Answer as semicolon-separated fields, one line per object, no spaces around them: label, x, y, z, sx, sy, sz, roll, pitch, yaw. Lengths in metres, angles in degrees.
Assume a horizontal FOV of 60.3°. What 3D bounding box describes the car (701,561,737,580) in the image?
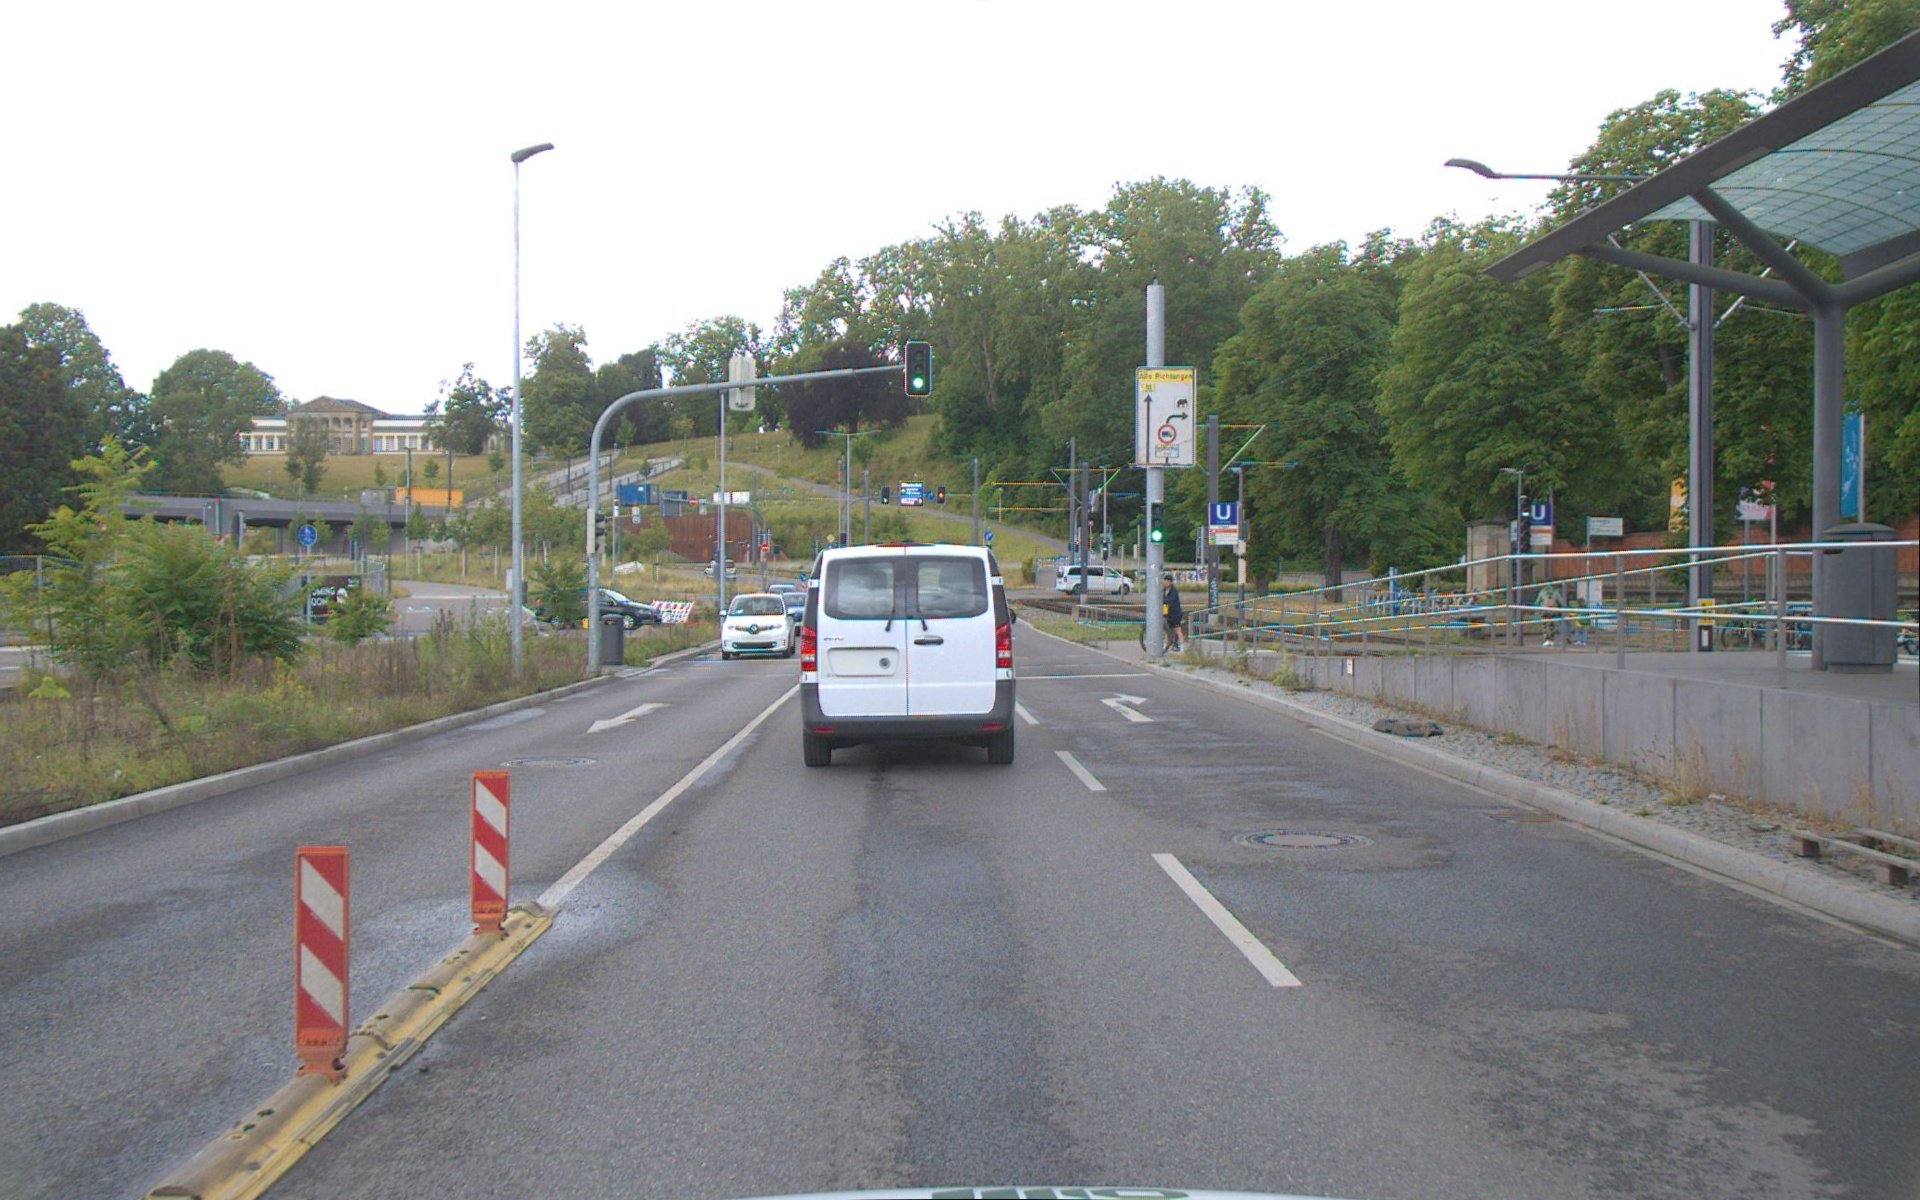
car;-21.453;-2.610;147.145;1.915;1.655;3.964;1;1;-28

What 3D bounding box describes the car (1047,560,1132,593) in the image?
car;8.410;-1.501;107.535;5.047;2.049;2.200;1;0;-14

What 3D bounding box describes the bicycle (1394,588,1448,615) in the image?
bicycle;17.382;0.052;62.409;1.873;0.992;0.530;-1;0;-2

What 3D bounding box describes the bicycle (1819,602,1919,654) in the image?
bicycle;18.484;0.557;33.565;1.835;0.980;0.532;2;0;-2

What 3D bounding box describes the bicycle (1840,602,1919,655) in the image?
bicycle;18.528;0.570;32.840;1.835;0.980;0.532;2;0;-2

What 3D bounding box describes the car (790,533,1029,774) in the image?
car;-0.397;0.417;15.506;1.919;1.937;4.461;0;0;0

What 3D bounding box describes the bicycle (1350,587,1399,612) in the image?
bicycle;17.055;-0.012;68.085;1.873;0.992;0.530;-1;0;-2

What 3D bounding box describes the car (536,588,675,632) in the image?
car;-13.134;0.378;61.393;4.609;1.503;2.002;-1;1;8

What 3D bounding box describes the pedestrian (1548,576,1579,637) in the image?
pedestrian;15.255;0.157;41.804;0.490;1.528;0.512;-1;0;-24

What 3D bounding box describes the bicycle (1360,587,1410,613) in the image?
bicycle;16.996;-0.013;66.175;1.873;0.992;0.530;-1;0;-2

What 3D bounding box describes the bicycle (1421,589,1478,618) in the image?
bicycle;17.545;0.122;59.305;1.873;0.992;0.530;-1;0;-2

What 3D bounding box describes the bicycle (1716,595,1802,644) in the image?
bicycle;18.204;0.439;37.698;1.728;1.052;0.483;2;0;-2

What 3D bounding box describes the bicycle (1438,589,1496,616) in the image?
bicycle;17.831;0.094;58.201;1.873;0.911;0.530;-1;0;-2

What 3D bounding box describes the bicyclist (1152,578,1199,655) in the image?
bicyclist;4.572;0.340;35.118;0.799;1.599;0.609;-1;2;-42

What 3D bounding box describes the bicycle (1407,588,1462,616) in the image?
bicycle;17.478;0.065;60.890;1.873;0.992;0.530;-1;0;-2

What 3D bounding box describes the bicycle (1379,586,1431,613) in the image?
bicycle;17.400;-0.018;64.648;1.873;0.992;0.530;-1;0;-2

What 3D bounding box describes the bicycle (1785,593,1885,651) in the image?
bicycle;18.696;0.476;35.364;1.835;1.159;0.532;2;0;-2

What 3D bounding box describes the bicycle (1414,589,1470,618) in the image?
bicycle;17.475;0.119;59.950;1.873;0.992;0.530;-1;0;-2

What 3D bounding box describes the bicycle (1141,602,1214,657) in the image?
bicycle;4.626;0.610;35.181;1.670;1.092;0.611;-1;2;-42

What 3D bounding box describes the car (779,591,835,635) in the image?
car;-5.292;0.440;57.701;1.695;1.446;4.442;-2;0;-3

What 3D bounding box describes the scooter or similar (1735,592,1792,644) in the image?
scooter or similar;18.785;0.419;38.667;1.139;1.159;0.333;2;0;22

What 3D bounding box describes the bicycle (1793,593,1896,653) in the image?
bicycle;18.391;0.473;34.398;1.835;1.159;0.532;2;0;-2

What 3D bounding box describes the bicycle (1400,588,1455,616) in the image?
bicycle;17.421;0.066;61.629;1.873;0.992;0.530;-1;0;-2

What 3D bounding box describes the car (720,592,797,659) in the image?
car;-4.933;0.604;40.965;1.559;1.544;4.082;-1;0;-3

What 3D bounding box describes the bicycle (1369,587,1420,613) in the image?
bicycle;17.185;-0.017;65.455;1.873;0.992;0.530;-1;0;-2

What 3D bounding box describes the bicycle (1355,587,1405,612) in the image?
bicycle;17.040;-0.012;67.159;1.873;0.992;0.530;-1;0;-2

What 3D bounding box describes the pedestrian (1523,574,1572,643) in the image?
pedestrian;14.361;0.202;40.452;0.821;1.637;0.772;-1;0;-24

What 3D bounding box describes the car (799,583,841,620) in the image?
car;-6.282;0.070;74.501;1.695;1.555;4.442;-2;0;-3
